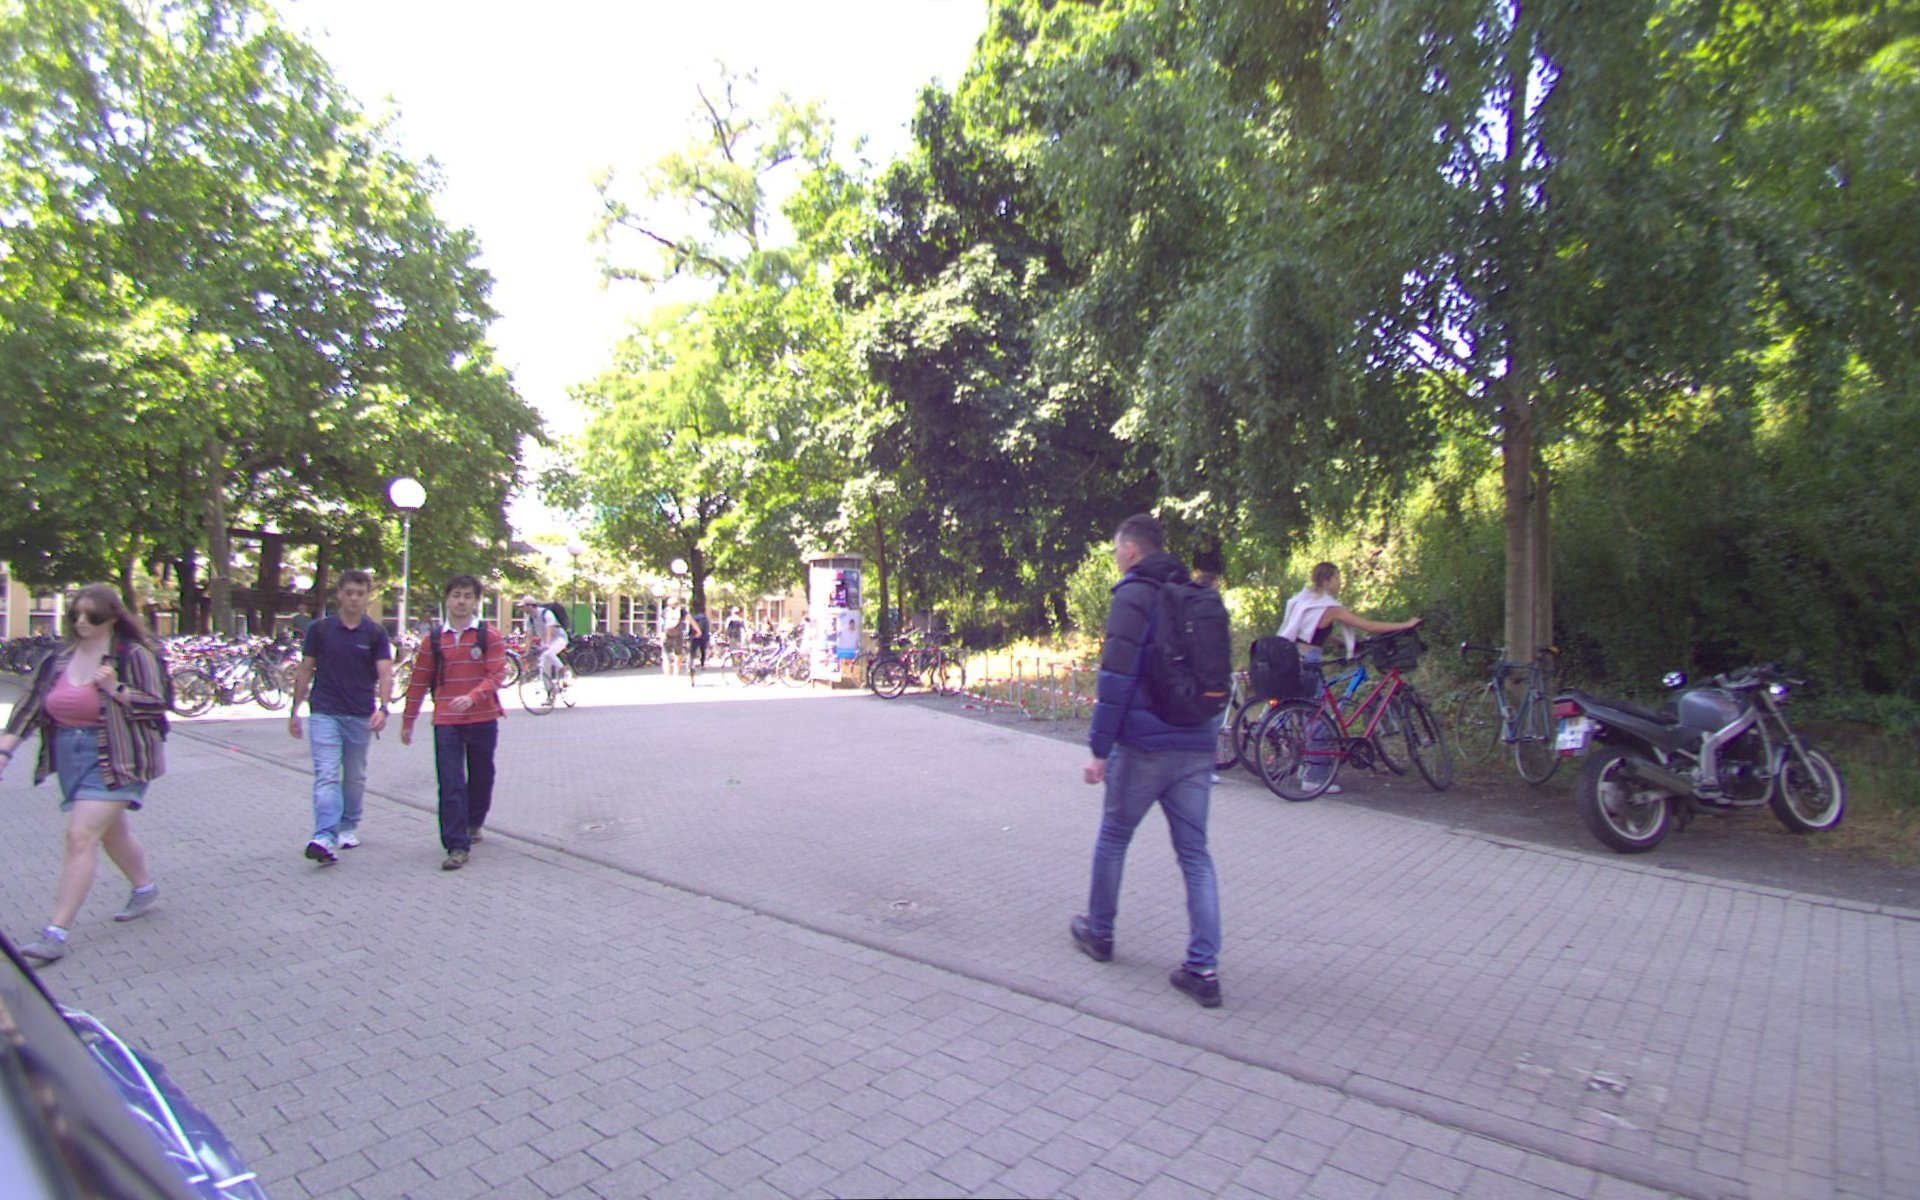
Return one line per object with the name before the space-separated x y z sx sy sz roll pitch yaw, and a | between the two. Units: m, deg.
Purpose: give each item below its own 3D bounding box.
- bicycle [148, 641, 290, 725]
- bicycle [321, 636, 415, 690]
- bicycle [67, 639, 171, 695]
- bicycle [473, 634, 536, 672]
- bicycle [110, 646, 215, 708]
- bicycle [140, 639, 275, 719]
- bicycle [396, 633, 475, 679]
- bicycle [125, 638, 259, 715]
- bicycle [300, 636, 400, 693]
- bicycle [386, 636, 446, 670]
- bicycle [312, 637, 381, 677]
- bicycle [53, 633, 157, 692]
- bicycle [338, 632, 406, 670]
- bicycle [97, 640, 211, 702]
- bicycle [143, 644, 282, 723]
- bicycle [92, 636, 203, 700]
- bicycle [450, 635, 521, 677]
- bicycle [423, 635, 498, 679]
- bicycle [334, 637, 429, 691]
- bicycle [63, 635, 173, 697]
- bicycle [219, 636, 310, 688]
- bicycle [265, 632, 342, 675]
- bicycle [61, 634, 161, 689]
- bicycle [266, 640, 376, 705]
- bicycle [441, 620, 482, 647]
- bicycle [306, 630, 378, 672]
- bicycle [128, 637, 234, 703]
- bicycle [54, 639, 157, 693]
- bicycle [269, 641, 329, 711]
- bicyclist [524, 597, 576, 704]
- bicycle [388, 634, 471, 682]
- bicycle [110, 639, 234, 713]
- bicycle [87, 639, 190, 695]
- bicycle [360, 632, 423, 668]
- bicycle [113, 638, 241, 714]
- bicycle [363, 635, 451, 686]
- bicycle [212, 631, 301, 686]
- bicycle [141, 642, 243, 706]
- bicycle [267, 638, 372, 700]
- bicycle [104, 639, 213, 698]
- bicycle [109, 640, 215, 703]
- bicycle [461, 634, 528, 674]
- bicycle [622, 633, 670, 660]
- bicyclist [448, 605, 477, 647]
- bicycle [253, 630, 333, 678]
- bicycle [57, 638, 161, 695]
bicycle | -11.231 1.224 15.394 0.472 1.168 1.681 -1 -1 32
bicycle | -12.662 1.333 21.693 1.670 1.092 0.475 0 -1 -18
bicycle | -18.136 1.431 21.865 0.472 1.116 1.683 -1 -1 29
bicycle | -13.389 1.563 29.777 1.677 1.092 0.473 -1 -1 4
bicycle | -14.567 1.379 18.536 0.468 1.026 1.696 -1 -1 6
bicycle | -12.081 1.234 16.292 0.473 1.177 1.679 -1 -1 35
bicycle | -12.960 1.364 25.047 1.671 1.092 0.475 0 -1 -13
bicycle | -12.737 1.244 16.835 1.752 1.177 0.475 0 -1 -36
bicycle | -12.248 1.293 20.355 1.671 1.092 0.475 0 -1 -14
bicycle | -17.949 1.748 33.380 1.756 1.116 0.502 -1 -1 4
bicycle | -17.955 1.659 29.625 1.672 1.116 0.504 0 -1 -9
bicycle | -19.248 1.379 22.815 0.495 1.245 1.721 -1 -1 33
bicycle | -17.879 1.543 30.780 1.672 1.116 0.632 0 -1 -9
bicycle | -15.919 1.377 20.025 0.580 1.116 1.682 -1 -1 29
bicycle | -11.568 1.268 15.720 0.473 1.099 1.679 -1 -1 35
bicycle | -16.322 1.349 20.366 0.472 1.196 1.682 -1 -1 29
bicycle | -12.812 1.498 27.360 1.674 1.092 0.474 0 -1 -4
bicycle | -12.877 1.470 26.122 1.674 1.092 0.474 0 -1 -4
bicycle | -12.168 1.333 21.329 1.670 1.092 0.475 0 -1 -18
bicycle | -17.519 1.353 21.094 0.535 1.208 1.681 -1 -1 32
bicycle | -16.000 1.402 23.332 0.501 1.116 1.682 -1 -1 29
bicycle | -17.742 1.432 27.387 1.671 1.116 0.504 0 -1 -13
bicycle | -19.544 1.394 23.331 0.496 1.187 1.717 -1 -1 40
bicycle | -11.616 1.292 18.423 1.672 1.092 0.475 0 -1 -37
bicycle | -22.944 1.531 46.604 0.795 1.181 1.883 -2 -1 6
bicycle | -17.353 1.428 28.447 1.671 1.116 0.504 0 -1 -13
bicycle | -14.921 1.311 19.433 0.469 1.166 1.692 -1 -1 13
bicycle | -18.930 1.438 22.448 0.495 1.116 1.682 -1 -1 30
bicycle | -11.225 1.264 17.165 1.700 1.092 0.501 -1 -1 44
bicyclist | -6.259 0.757 15.470 0.586 1.580 0.723 0 -1 -9
bicycle | -12.561 1.359 24.003 1.671 1.092 0.475 0 -1 -13
bicycle | -13.698 1.288 17.637 0.471 1.177 1.686 -1 -1 24
bicycle | -17.682 1.421 21.823 0.472 1.116 1.682 -1 -1 29
bicycle | -17.975 1.574 31.996 1.672 1.116 0.504 0 -1 -9
bicycle | -13.308 1.266 17.259 0.472 1.177 1.683 -1 -1 28
bicycle | -12.451 1.359 22.824 1.671 1.092 0.475 0 -1 -13
bicycle | -16.730 1.377 24.107 0.501 1.229 1.682 -1 -1 29
bicycle | -14.063 1.328 18.585 0.468 1.070 1.696 -1 -1 6
bicycle | -12.237 1.297 19.346 1.671 1.092 0.475 0 -1 -36
bicycle | -16.552 1.394 20.946 0.563 1.116 1.682 -1 -1 29
bicycle | -15.369 1.351 19.543 0.469 1.116 1.692 -1 -1 13
bicycle | -13.141 1.520 28.581 1.677 1.092 0.473 -1 -1 4
bicycle | -12.833 1.886 41.352 1.834 1.092 0.473 -1 -1 4
bicyclist | -22.955 1.186 46.729 0.795 1.906 0.866 -2 0 6
bicycle | -17.635 1.411 26.775 1.671 1.209 0.577 0 -1 -13
bicycle | -18.546 1.421 22.090 0.472 1.154 1.683 -1 -1 29
